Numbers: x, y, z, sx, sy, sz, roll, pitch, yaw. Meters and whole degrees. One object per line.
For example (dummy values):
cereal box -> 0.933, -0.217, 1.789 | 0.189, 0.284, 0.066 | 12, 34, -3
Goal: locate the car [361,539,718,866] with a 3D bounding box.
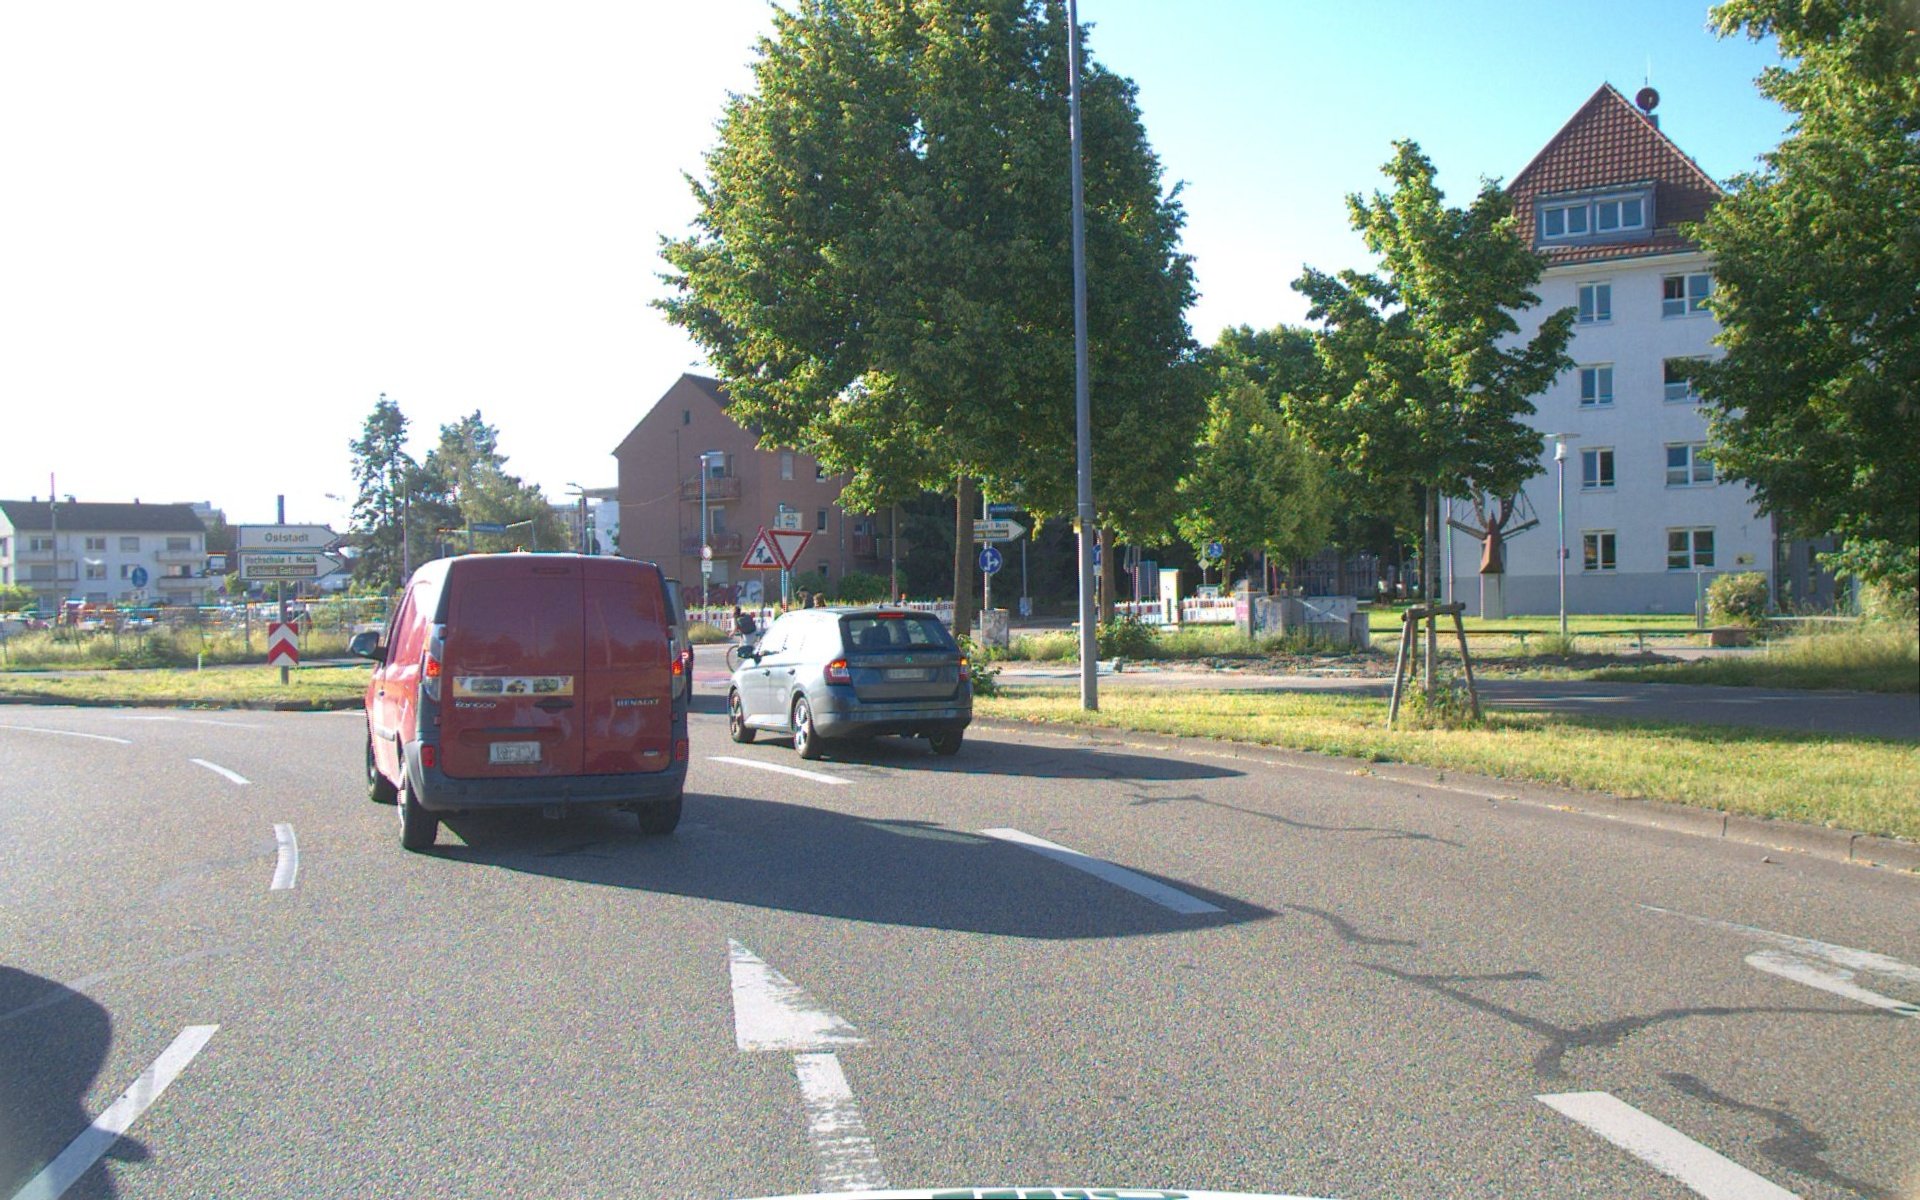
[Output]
car -> -3.060, 0.559, 11.466 | 1.779, 1.845, 3.781 | -1, 1, -24

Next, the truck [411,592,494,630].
truck -> -28.027, 0.621, 91.246 | 2.151, 2.049, 6.343 | 1, -1, -40

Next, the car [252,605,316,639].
car -> -41.105, 1.333, 100.524 | 4.421, 2.049, 1.987 | 0, -1, 43

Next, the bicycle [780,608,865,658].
bicycle -> -2.948, 0.701, 35.371 | 1.786, 1.046, 0.658 | -1, -1, 34

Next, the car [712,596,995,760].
car -> -1.243, 0.723, 17.195 | 1.691, 1.461, 4.122 | -1, 0, -23

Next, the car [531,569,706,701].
car -> -5.684, 0.527, 27.033 | 1.969, 1.930, 4.720 | -1, 0, -22

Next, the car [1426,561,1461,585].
car -> 41.121, -2.308, 140.589 | 1.956, 1.904, 3.992 | 0, -1, 30

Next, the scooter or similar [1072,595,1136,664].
scooter or similar -> 2.688, 0.556, 31.020 | 0.440, 1.270, 1.246 | 1, -2, -40

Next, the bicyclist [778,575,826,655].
bicyclist -> -3.507, 0.335, 36.776 | 0.795, 1.760, 0.653 | -2, -1, 33

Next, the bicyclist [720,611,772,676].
bicyclist -> -4.676, 0.941, 36.182 | 0.913, 1.409, 0.660 | -1, -1, 25

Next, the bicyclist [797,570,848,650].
bicyclist -> -2.932, 0.219, 35.337 | 0.880, 1.694, 0.658 | -1, -1, 34

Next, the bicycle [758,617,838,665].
bicycle -> -3.614, 0.899, 36.868 | 1.786, 1.046, 0.658 | -1, -1, 34

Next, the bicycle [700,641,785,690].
bicycle -> -4.767, 1.445, 36.237 | 1.782, 1.046, 0.660 | -1, -2, 26

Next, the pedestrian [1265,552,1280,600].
pedestrian -> 13.460, -1.044, 71.201 | 0.462, 2.049, 0.453 | -1, 1, 36
